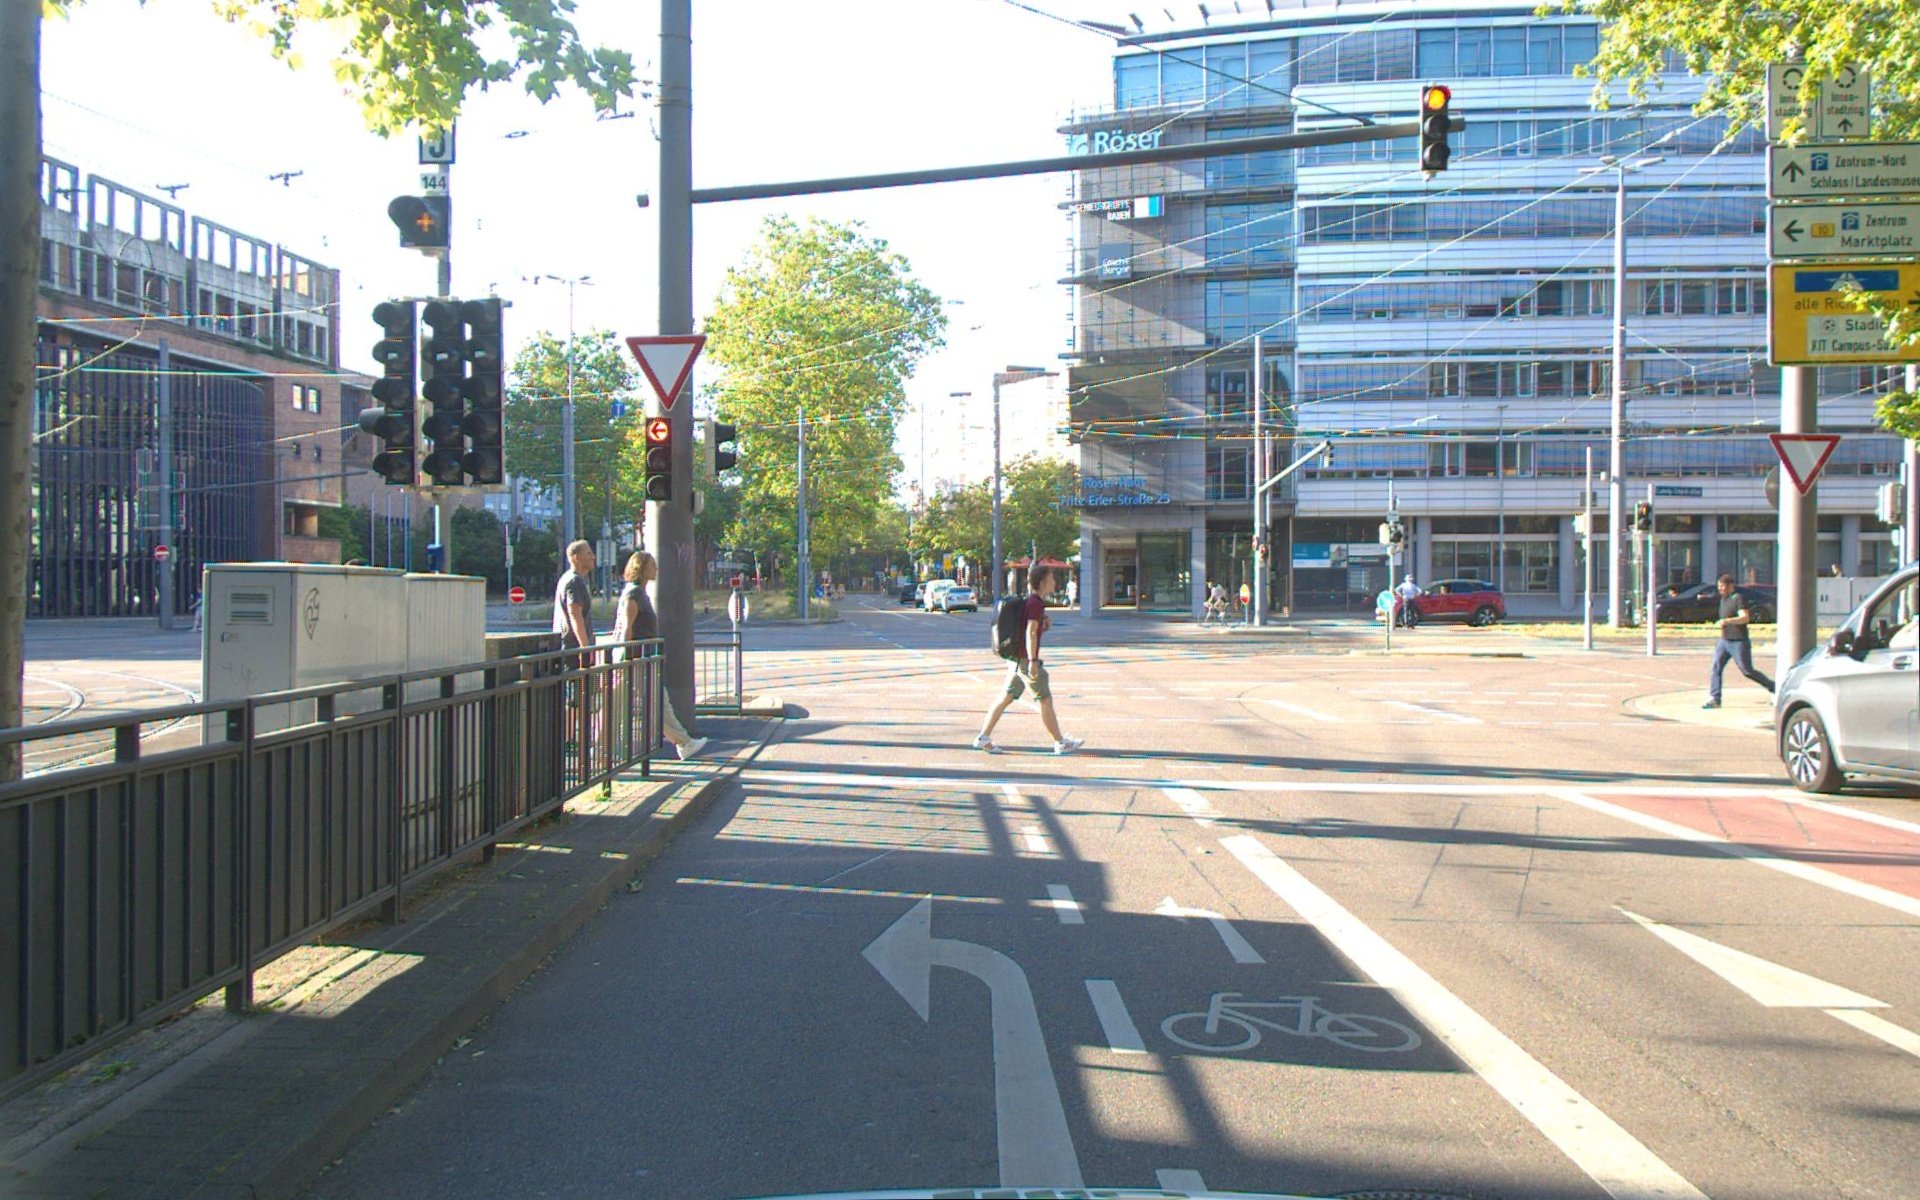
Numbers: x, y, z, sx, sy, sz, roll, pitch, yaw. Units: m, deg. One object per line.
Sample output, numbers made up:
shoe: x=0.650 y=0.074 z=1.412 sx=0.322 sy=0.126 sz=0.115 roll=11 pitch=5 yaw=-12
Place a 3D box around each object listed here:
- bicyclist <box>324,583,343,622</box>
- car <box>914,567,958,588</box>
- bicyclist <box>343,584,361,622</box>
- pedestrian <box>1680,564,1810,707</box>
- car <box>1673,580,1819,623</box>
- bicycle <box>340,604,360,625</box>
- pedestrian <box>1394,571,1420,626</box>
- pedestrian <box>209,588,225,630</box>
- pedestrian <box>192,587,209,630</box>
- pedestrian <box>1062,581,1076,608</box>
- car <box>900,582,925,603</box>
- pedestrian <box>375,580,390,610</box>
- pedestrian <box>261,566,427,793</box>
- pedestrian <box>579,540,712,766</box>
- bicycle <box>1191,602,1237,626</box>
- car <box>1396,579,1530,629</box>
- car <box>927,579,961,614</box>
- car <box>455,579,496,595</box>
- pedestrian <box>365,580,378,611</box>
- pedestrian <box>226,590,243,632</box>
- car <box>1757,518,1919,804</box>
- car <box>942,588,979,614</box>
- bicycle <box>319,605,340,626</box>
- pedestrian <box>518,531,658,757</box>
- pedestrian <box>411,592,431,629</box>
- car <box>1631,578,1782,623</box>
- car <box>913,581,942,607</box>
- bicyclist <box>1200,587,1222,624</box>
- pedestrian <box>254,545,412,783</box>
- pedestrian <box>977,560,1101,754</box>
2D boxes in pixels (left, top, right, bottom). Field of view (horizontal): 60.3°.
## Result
bicyclist: x=-28.022 y=0.113 z=74.001 sx=0.582 sy=1.705 sz=0.788 roll=-1 pitch=0 yaw=-8
car: x=-2.205 y=-2.015 z=150.405 sx=3.681 sy=1.780 sz=1.783 roll=1 pitch=0 yaw=13
bicyclist: x=-27.283 y=0.130 z=74.280 sx=0.582 sy=1.705 sz=0.788 roll=-1 pitch=0 yaw=-8
pedestrian: x=10.568 y=0.471 z=22.301 sx=1.186 sy=1.854 sz=1.040 roll=1 pitch=0 yaw=-7
car: x=26.917 y=0.040 z=56.738 sx=4.151 sy=1.417 sz=1.797 roll=-1 pitch=0 yaw=6
bicycle: x=-27.381 y=0.651 z=74.219 sx=0.503 sy=0.897 sz=1.835 roll=-1 pitch=0 yaw=-9
pedestrian: x=14.163 y=-0.052 z=52.432 sx=0.704 sy=1.711 sz=0.557 roll=1 pitch=0 yaw=5
pedestrian: x=-30.223 y=0.373 z=67.314 sx=0.529 sy=1.679 sz=0.622 roll=-1 pitch=0 yaw=-20
pedestrian: x=-29.900 y=0.318 z=65.147 sx=0.529 sy=1.679 sz=0.622 roll=-1 pitch=0 yaw=-20
pedestrian: x=6.110 y=-0.300 z=92.691 sx=0.724 sy=1.491 sz=0.536 roll=-1 pitch=0 yaw=-3
car: x=-3.916 y=-0.595 z=135.832 sx=1.953 sy=1.691 sz=3.999 roll=-1 pitch=0 yaw=-2
pedestrian: x=-34.892 y=-0.295 z=99.948 sx=0.628 sy=1.842 sz=0.546 roll=-1 pitch=0 yaw=5
pedestrian: x=-4.778 y=0.604 z=12.892 sx=1.052 sy=1.711 sz=0.756 roll=1 pitch=0 yaw=-9
pedestrian: x=-2.630 y=0.438 z=13.929 sx=1.051 sy=1.837 sz=0.756 roll=1 pitch=0 yaw=-9
bicycle: x=9.660 y=0.533 z=62.906 sx=1.704 sy=0.915 sz=0.409 roll=-1 pitch=0 yaw=4
car: x=17.402 y=0.130 z=57.384 sx=4.152 sy=1.630 sz=1.796 roll=-1 pitch=0 yaw=3
car: x=-0.972 y=-0.202 z=98.842 sx=1.953 sy=2.026 sz=3.999 roll=-1 pitch=0 yaw=-2
car: x=-51.754 y=-1.366 z=176.671 sx=3.950 sy=1.579 sz=1.589 roll=1 pitch=0 yaw=-33
pedestrian: x=-35.038 y=-0.260 z=98.462 sx=0.511 sy=1.810 sz=0.546 roll=-1 pitch=0 yaw=5
pedestrian: x=-29.047 y=0.446 z=66.229 sx=0.529 sy=1.679 sz=0.622 roll=-1 pitch=0 yaw=-20
car: x=7.707 y=0.450 z=11.271 sx=1.953 sy=2.000 sz=5.136 roll=1 pitch=0 yaw=-1
car: x=0.002 y=0.035 z=92.090 sx=1.953 sy=1.355 sz=3.999 roll=-1 pitch=0 yaw=-2
bicycle: x=-28.171 y=0.682 z=73.889 sx=0.503 sy=0.897 sz=1.835 roll=-1 pitch=0 yaw=-9
pedestrian: x=-3.274 y=0.381 z=14.640 sx=1.124 sy=1.927 sz=0.831 roll=1 pitch=0 yaw=-9
pedestrian: x=-22.964 y=0.448 z=70.458 sx=0.741 sy=1.557 sz=0.507 roll=1 pitch=0 yaw=-9
car: x=24.392 y=0.012 z=54.147 sx=4.152 sy=1.417 sz=1.796 roll=-1 pitch=0 yaw=3
car: x=-2.264 y=-0.419 z=114.206 sx=1.953 sy=1.691 sz=3.999 roll=-1 pitch=0 yaw=-2
bicyclist: x=9.546 y=0.200 z=62.909 sx=0.801 sy=1.390 sz=0.400 roll=-1 pitch=0 yaw=4
pedestrian: x=-5.160 y=0.518 z=13.669 sx=1.053 sy=1.904 sz=0.737 roll=1 pitch=0 yaw=-9
pedestrian: x=0.716 y=0.516 z=15.271 sx=1.052 sy=1.745 sz=0.627 roll=1 pitch=0 yaw=-5
